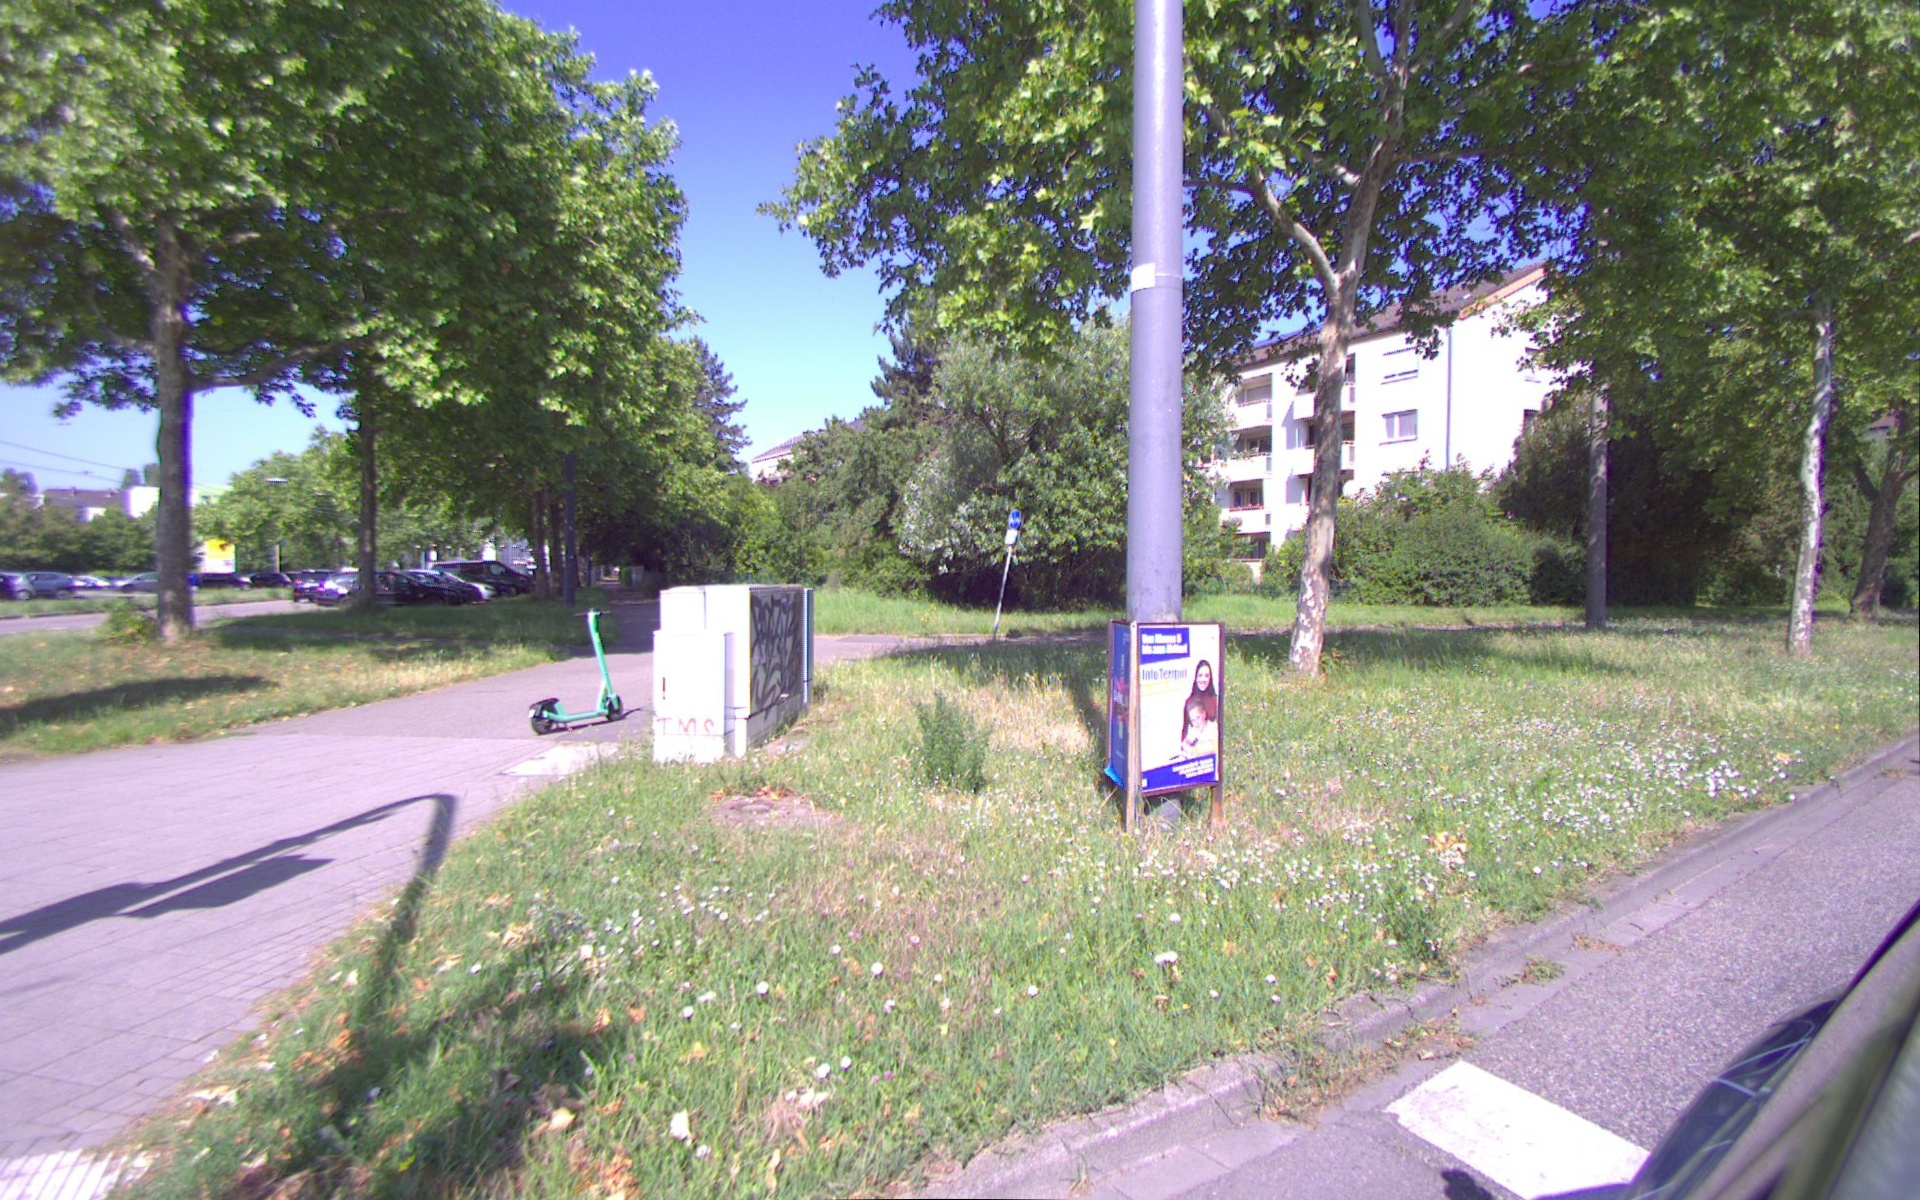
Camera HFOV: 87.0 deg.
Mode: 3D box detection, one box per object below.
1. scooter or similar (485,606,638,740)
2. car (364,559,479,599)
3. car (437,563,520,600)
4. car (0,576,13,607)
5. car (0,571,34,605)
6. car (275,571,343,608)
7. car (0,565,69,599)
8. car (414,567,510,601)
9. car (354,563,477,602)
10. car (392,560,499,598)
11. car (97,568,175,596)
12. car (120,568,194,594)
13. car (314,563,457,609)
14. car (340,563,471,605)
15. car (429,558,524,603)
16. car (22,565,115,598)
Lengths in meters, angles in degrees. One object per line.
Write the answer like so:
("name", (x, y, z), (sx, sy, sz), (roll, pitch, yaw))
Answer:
("scooter or similar", (-3.867, 0.669, 9.926), (0.511, 1.156, 1.435), (-1, 1, 23))
("car", (-23.005, -0.884, 43.353), (4.266, 1.653, 2.003), (-1, 0, -28))
("car", (-29.647, -1.155, 62.323), (4.496, 2.236, 2.003), (-1, 1, -28))
("car", (-49.531, -0.424, 50.277), (1.559, 1.554, 3.400), (1, 2, 36))
("car", (-51.525, -0.618, 53.268), (1.992, 1.816, 3.939), (-1, 0, 42))
("car", (-31.163, -0.503, 48.579), (1.756, 1.676, 4.008), (0, 0, -18))
("car", (-52.119, -0.965, 56.095), (1.992, 1.816, 3.939), (-1, 0, 42))
("car", (-25.116, -0.816, 51.115), (4.266, 1.653, 2.003), (-1, 2, -28))
("car", (-21.952, -0.725, 40.958), (4.266, 1.509, 2.003), (-1, 2, -28))
("car", (-23.321, -0.948, 45.982), (4.266, 1.653, 2.003), (-1, 2, -28))
("car", (-56.540, -1.220, 69.477), (1.992, 1.816, 3.939), (-1, 0, 42))
("car", (-57.573, -1.334, 72.610), (1.993, 1.816, 3.939), (0, 1, 42))
("car", (-20.187, -0.534, 35.773), (4.266, 1.509, 2.003), (-1, 2, -28))
("car", (-21.061, -0.632, 38.591), (4.266, 1.509, 2.003), (-1, 2, -28))
("car", (-25.839, -1.069, 54.247), (4.494, 2.318, 2.004), (0, 1, -22))
("car", (-52.390, -1.084, 59.498), (1.992, 1.816, 3.939), (-1, 0, 42))
